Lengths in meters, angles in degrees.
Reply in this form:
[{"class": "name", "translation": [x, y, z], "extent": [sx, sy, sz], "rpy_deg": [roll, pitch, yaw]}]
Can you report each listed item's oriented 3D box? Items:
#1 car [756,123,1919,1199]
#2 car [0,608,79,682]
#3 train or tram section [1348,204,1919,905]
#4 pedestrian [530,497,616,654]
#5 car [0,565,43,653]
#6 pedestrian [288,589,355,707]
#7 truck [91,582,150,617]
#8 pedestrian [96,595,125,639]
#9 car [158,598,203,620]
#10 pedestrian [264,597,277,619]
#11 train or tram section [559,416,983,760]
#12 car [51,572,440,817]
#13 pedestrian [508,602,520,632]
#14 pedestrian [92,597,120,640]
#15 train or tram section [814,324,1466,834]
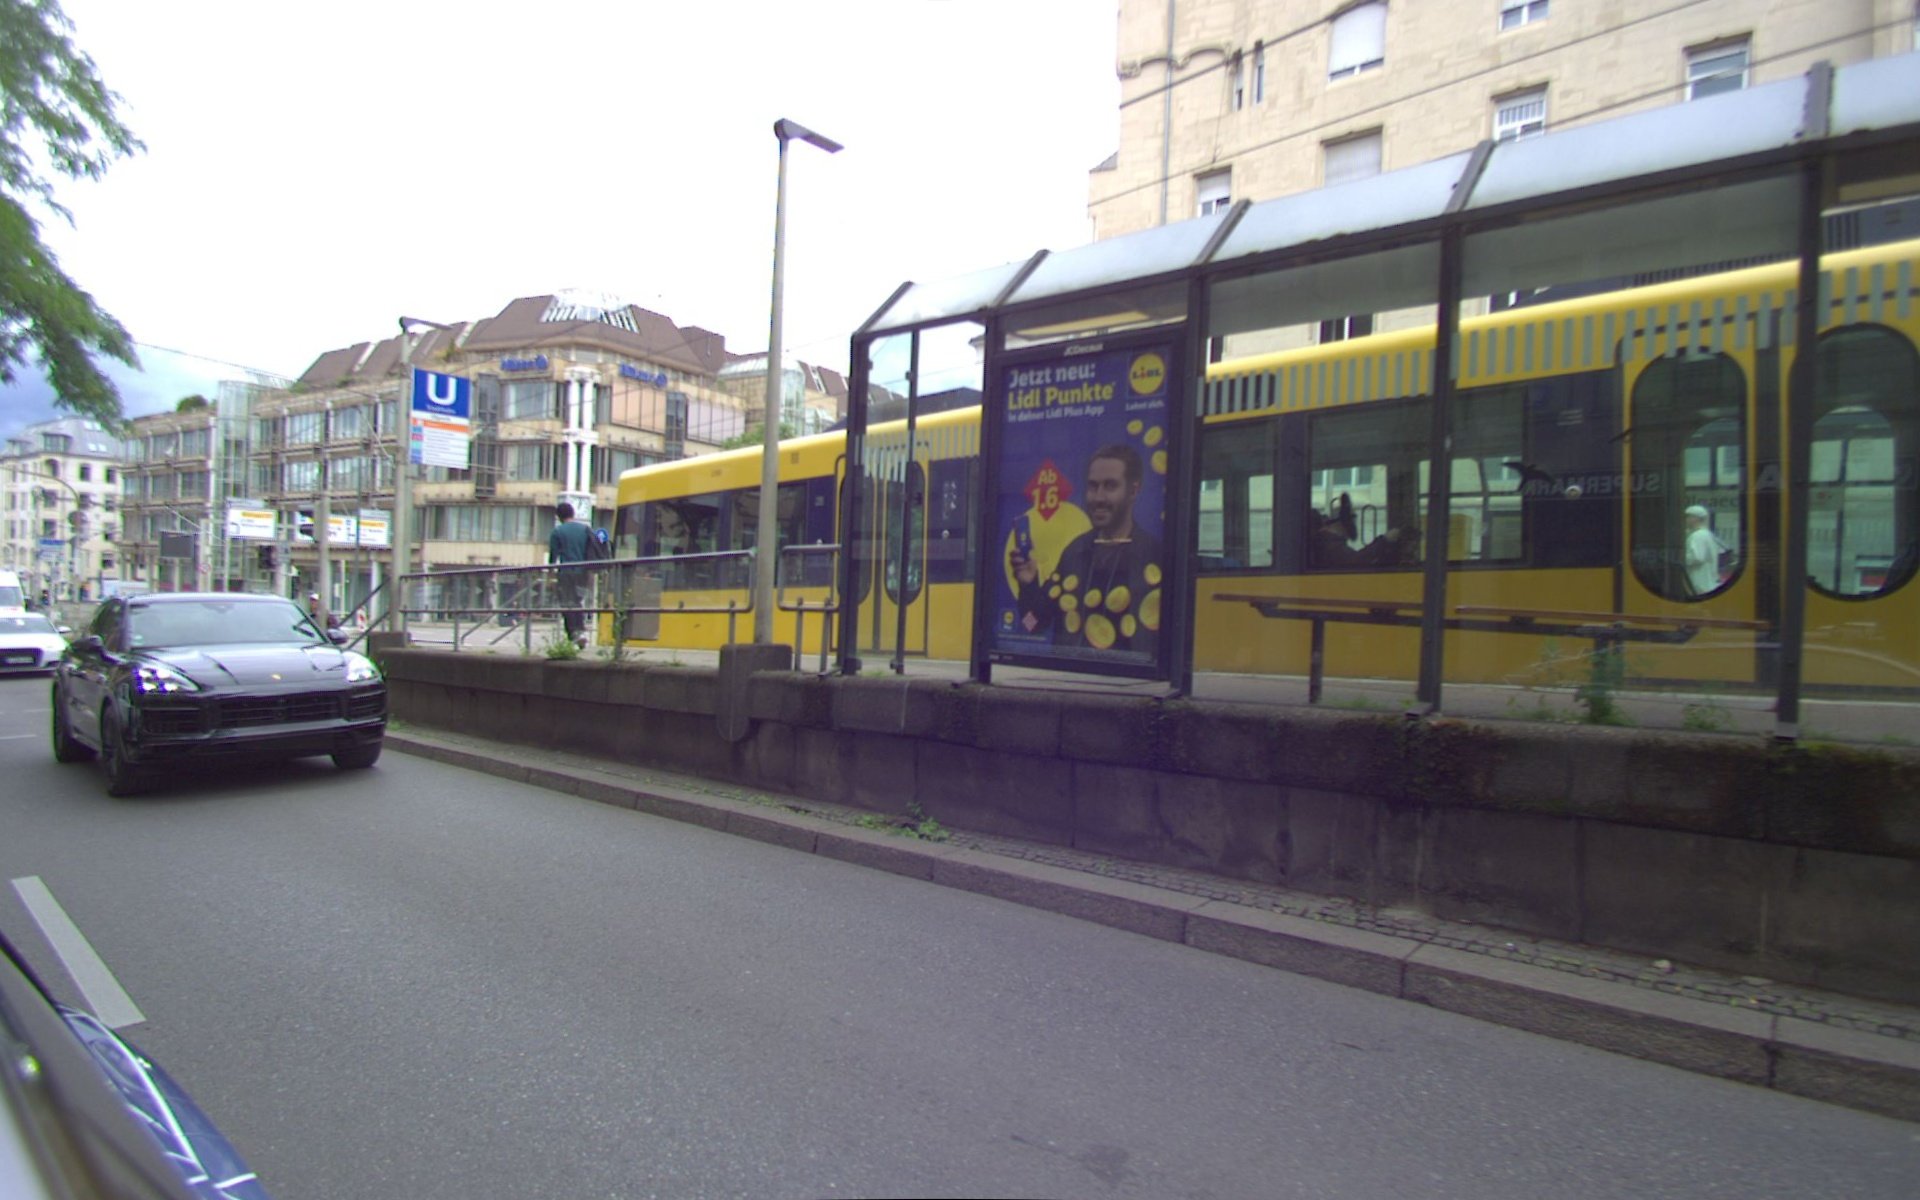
[{"class": "car", "translation": [2.126, 0.476, 1.760], "extent": [5.149, 2.029, 2.339], "rpy_deg": [1, 1, 43]}, {"class": "car", "translation": [-22.216, 0.994, 23.539], "extent": [3.995, 1.542, 1.926], "rpy_deg": [1, 1, 39]}, {"class": "train or tram section", "translation": [5.776, -0.236, 6.172], "extent": [5.750, 3.547, 2.805], "rpy_deg": [-1, 0, 42]}, {"class": "pedestrian", "translation": [-4.474, -0.278, 11.706], "extent": [0.671, 1.743, 0.710], "rpy_deg": [1, 1, 43]}, {"class": "car", "translation": [-32.890, 0.255, 34.100], "extent": [5.937, 2.780, 2.252], "rpy_deg": [1, 1, 41]}, {"class": "pedestrian", "translation": [-9.650, 0.706, 15.299], "extent": [0.711, 1.724, 0.678], "rpy_deg": [-1, -1, 41]}, {"class": "truck", "translation": [-78.241, -0.093, 94.307], "extent": [7.357, 3.099, 2.247], "rpy_deg": [1, -2, 35]}, {"class": "pedestrian", "translation": [-34.644, 0.690, 41.278], "extent": [0.772, 1.734, 0.783], "rpy_deg": [0, -1, 41]}, {"class": "car", "translation": [-65.918, 0.710, 85.585], "extent": [4.771, 1.772, 1.659], "rpy_deg": [1, 1, 35]}, {"class": "pedestrian", "translation": [-58.092, 0.665, 85.238], "extent": [0.738, 1.825, 0.724], "rpy_deg": [1, 0, 36]}, {"class": "train or tram section", "translation": [-2.781, -0.120, 13.884], "extent": [5.750, 3.706, 2.805], "rpy_deg": [-1, 0, 42]}, {"class": "car", "translation": [-6.991, 0.679, 9.600], "extent": [5.353, 1.688, 2.060], "rpy_deg": [-1, -1, 44]}, {"class": "pedestrian", "translation": [-27.001, 1.051, 61.280], "extent": [0.577, 1.793, 0.504], "rpy_deg": [0, -1, 44]}, {"class": "pedestrian", "translation": [-35.165, 0.757, 41.667], "extent": [0.637, 1.734, 0.756], "rpy_deg": [0, -1, 41]}, {"class": "train or tram section", "translation": [1.504, -0.135, 10.026], "extent": [5.750, 3.547, 2.805], "rpy_deg": [-1, 0, 42]}]
